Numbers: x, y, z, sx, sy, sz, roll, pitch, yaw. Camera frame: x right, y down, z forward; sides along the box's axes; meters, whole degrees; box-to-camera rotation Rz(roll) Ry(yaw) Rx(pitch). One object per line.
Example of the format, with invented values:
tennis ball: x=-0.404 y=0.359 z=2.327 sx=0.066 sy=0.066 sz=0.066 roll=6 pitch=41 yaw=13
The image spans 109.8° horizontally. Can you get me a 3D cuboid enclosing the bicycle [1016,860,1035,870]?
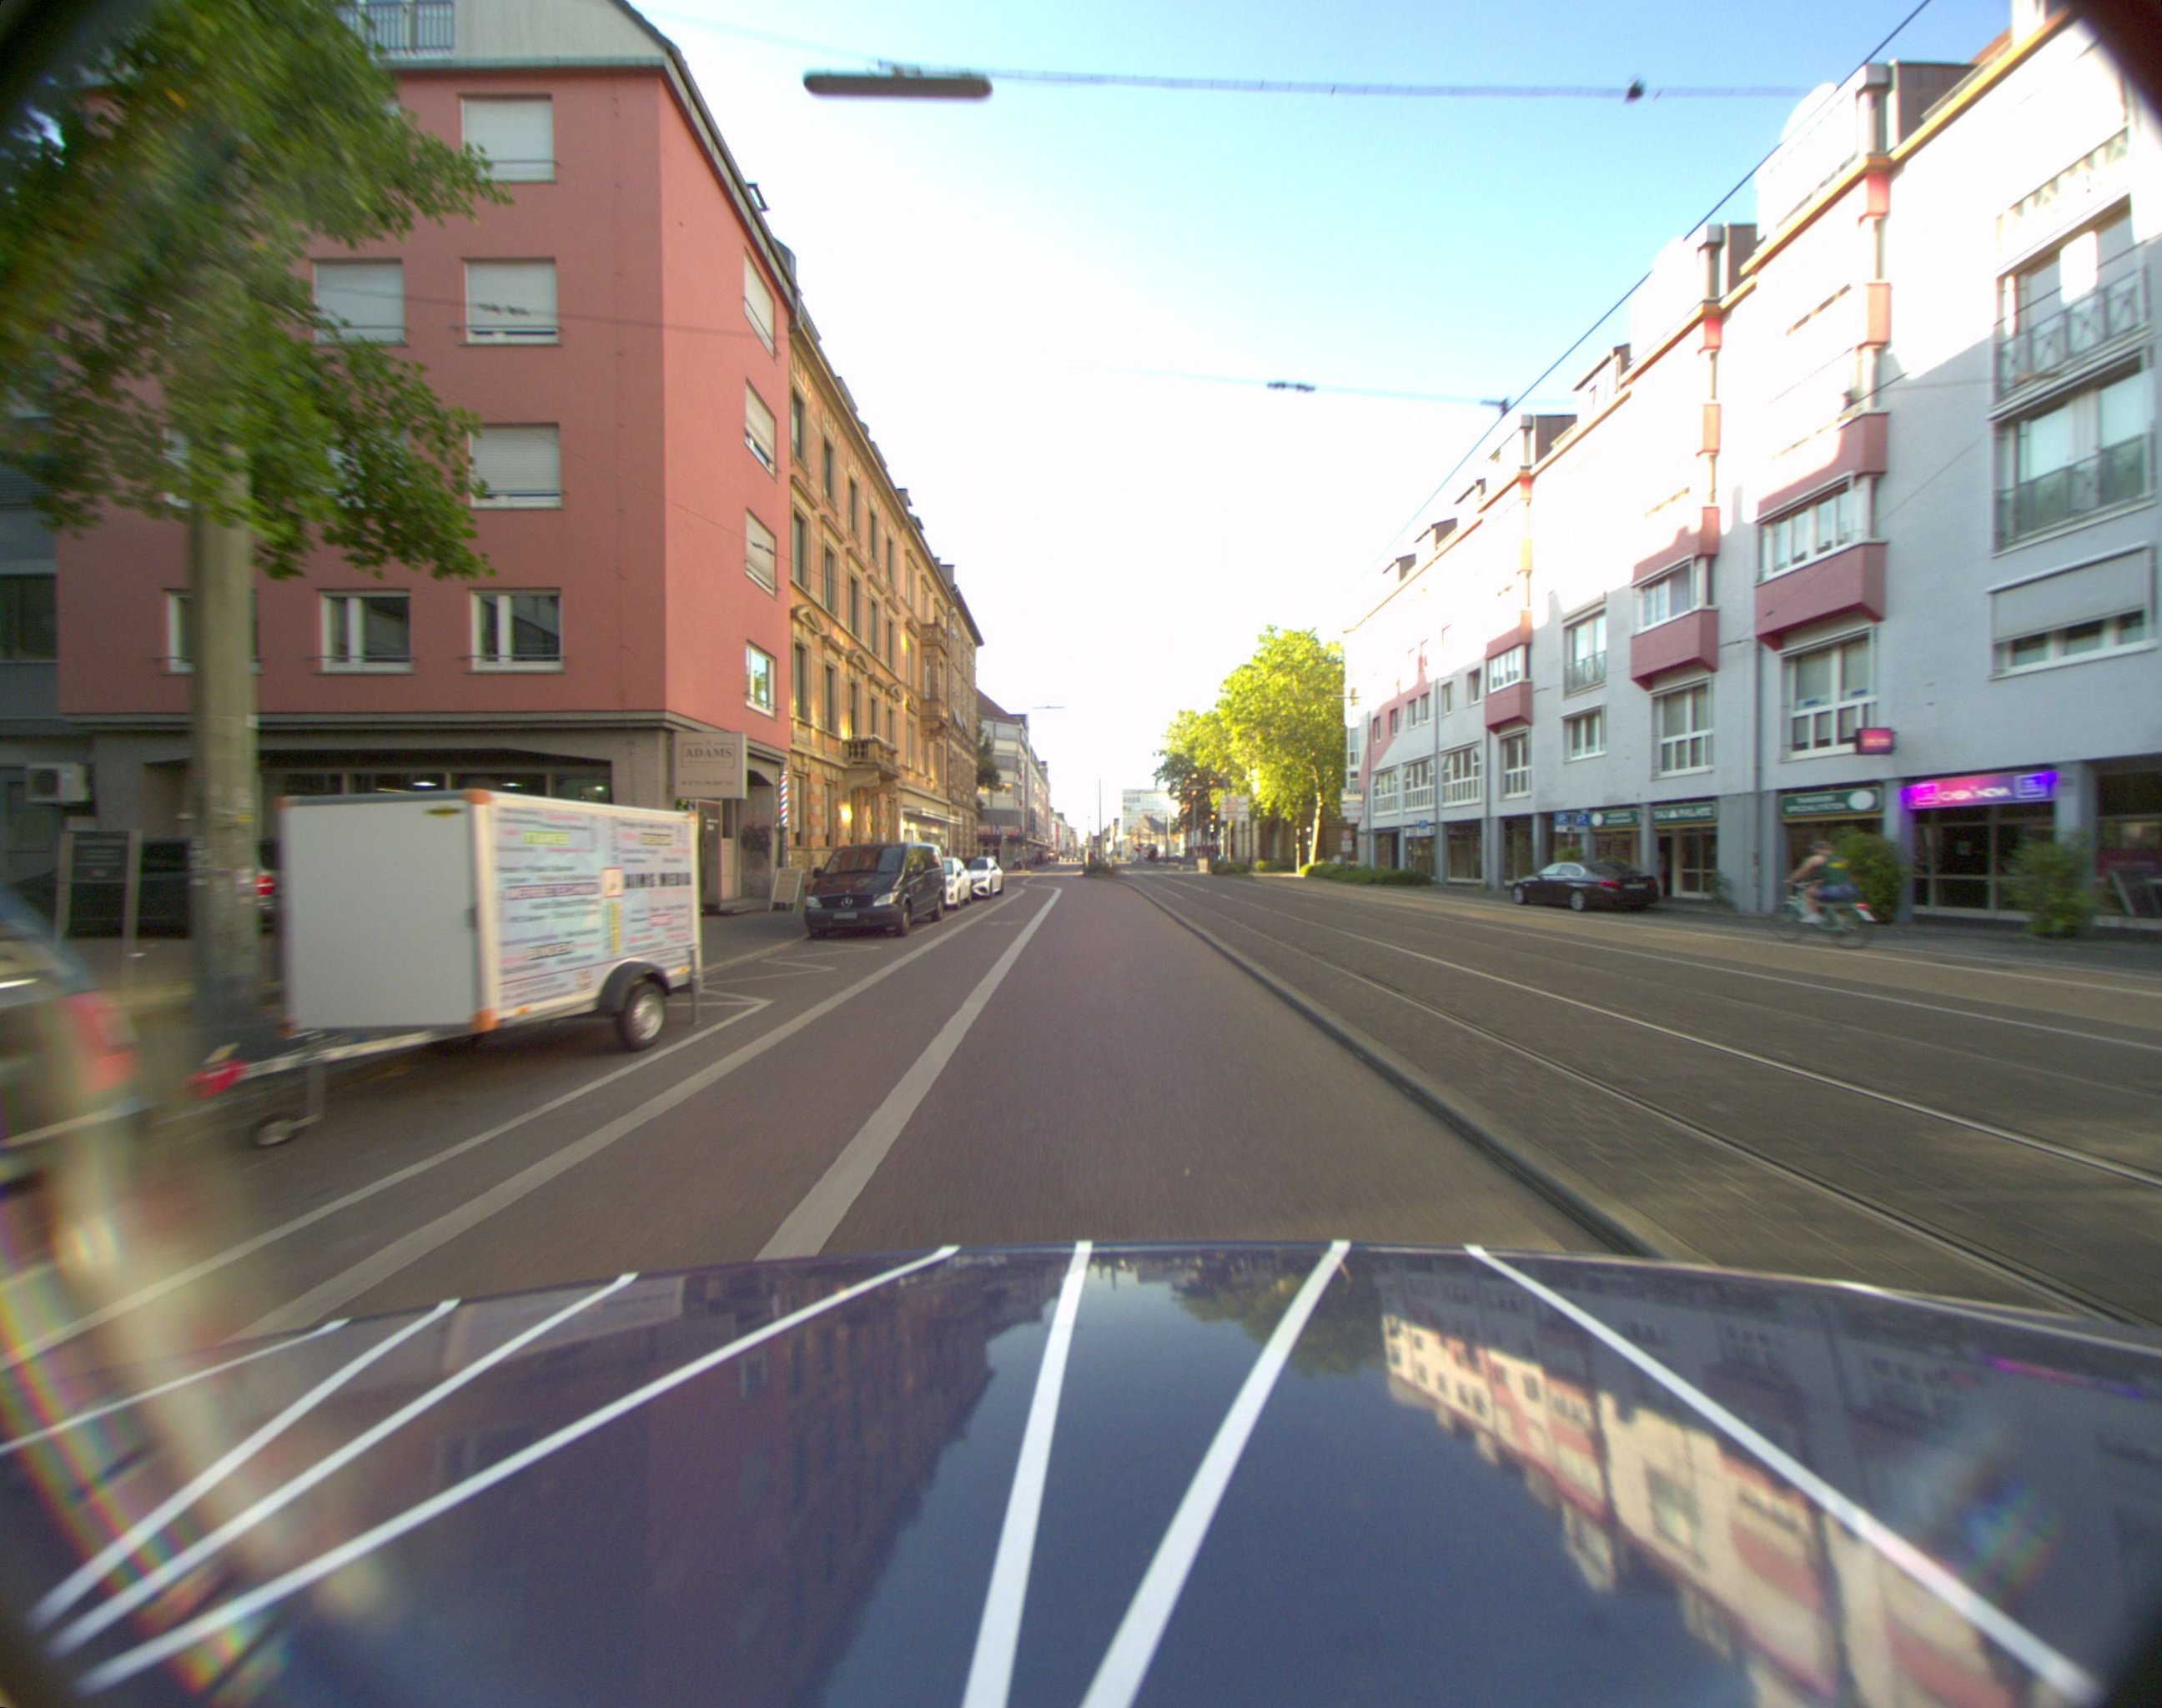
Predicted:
bicycle: x=-5.766 y=1.158 z=78.917 sx=1.918 sy=1.041 sz=0.681 roll=0 pitch=0 yaw=-2

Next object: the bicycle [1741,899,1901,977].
bicycle: x=12.414 y=1.363 z=12.862 sx=0.584 sy=1.071 sz=2.186 roll=2 pitch=0 yaw=1

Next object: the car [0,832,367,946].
car: x=-14.947 y=0.563 z=12.756 sx=4.041 sy=1.639 sz=1.777 roll=2 pitch=0 yaw=-5

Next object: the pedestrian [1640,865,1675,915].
pedestrian: x=19.766 y=1.220 z=26.059 sx=0.745 sy=1.702 sz=0.616 roll=0 pitch=0 yaw=-3

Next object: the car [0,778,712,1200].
car: x=-4.629 y=0.675 z=5.678 sx=1.709 sy=2.107 sz=3.707 roll=-1 pitch=1 yaw=4

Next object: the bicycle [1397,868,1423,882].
bicycle: x=17.521 y=1.103 z=40.522 sx=0.457 sy=0.654 sz=1.809 roll=-3 pitch=0 yaw=-5

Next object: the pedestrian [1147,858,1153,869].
pedestrian: x=11.072 y=1.515 z=121.824 sx=0.913 sy=1.652 sz=0.967 roll=0 pitch=0 yaw=0

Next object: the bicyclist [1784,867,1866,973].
bicyclist: x=12.408 y=1.074 z=12.694 sx=0.573 sy=1.702 sz=0.745 roll=2 pitch=0 yaw=0

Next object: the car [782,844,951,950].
car: x=-4.265 y=0.775 z=16.079 sx=1.960 sy=1.858 sz=4.989 roll=-1 pitch=0 yaw=2

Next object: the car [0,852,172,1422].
car: x=-4.358 y=0.911 z=0.209 sx=1.954 sy=1.777 sz=5.181 roll=-2 pitch=0 yaw=0

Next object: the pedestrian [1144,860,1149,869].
pedestrian: x=11.901 y=1.905 z=138.592 sx=0.860 sy=1.756 sz=0.812 roll=-2 pitch=0 yaw=7

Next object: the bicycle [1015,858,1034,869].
bicycle: x=-5.754 y=0.984 z=77.529 sx=1.839 sy=1.048 sz=0.718 roll=0 pitch=0 yaw=-2

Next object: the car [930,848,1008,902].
car: x=-3.999 y=0.698 z=27.978 sx=1.971 sy=1.761 sz=4.876 roll=-1 pitch=0 yaw=2

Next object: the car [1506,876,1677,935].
car: x=15.113 y=1.470 z=22.896 sx=1.874 sy=1.431 sz=4.706 roll=-1 pitch=0 yaw=-2

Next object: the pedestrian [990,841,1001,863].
pedestrian: x=-6.739 y=-0.133 z=59.870 sx=0.785 sy=1.655 sz=1.034 roll=0 pitch=-2 yaw=1

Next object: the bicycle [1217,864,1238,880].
bicycle: x=11.178 y=1.364 z=57.913 sx=1.903 sy=1.071 sz=0.582 roll=-3 pitch=0 yaw=-43

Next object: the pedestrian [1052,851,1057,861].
pedestrian: x=-4.651 y=0.360 z=132.151 sx=0.800 sy=1.712 sz=1.061 roll=3 pitch=1 yaw=2

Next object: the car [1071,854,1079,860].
car: x=-1.644 y=0.957 z=215.479 sx=1.971 sy=1.664 sz=4.876 roll=-2 pitch=-1 yaw=0

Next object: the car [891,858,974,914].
car: x=-4.306 y=0.880 z=22.656 sx=1.735 sy=1.487 sz=3.961 roll=-1 pitch=0 yaw=-1

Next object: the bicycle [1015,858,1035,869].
bicycle: x=-5.747 y=0.960 z=78.260 sx=1.975 sy=1.098 sz=0.614 roll=0 pitch=0 yaw=-2

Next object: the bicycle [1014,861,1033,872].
bicycle: x=-5.750 y=1.229 z=75.855 sx=1.839 sy=1.048 sz=0.710 roll=0 pitch=0 yaw=-2

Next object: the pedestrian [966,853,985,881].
pedestrian: x=-5.962 y=0.721 z=42.924 sx=0.777 sy=1.558 sz=0.914 roll=3 pitch=0 yaw=4

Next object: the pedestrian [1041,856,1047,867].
pedestrian: x=-6.223 y=1.299 z=127.235 sx=0.917 sy=1.856 sz=0.779 roll=2 pitch=1 yaw=-3

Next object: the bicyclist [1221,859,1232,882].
bicyclist: x=11.068 y=1.241 z=57.855 sx=0.747 sy=1.702 sz=0.532 roll=0 pitch=0 yaw=-45
